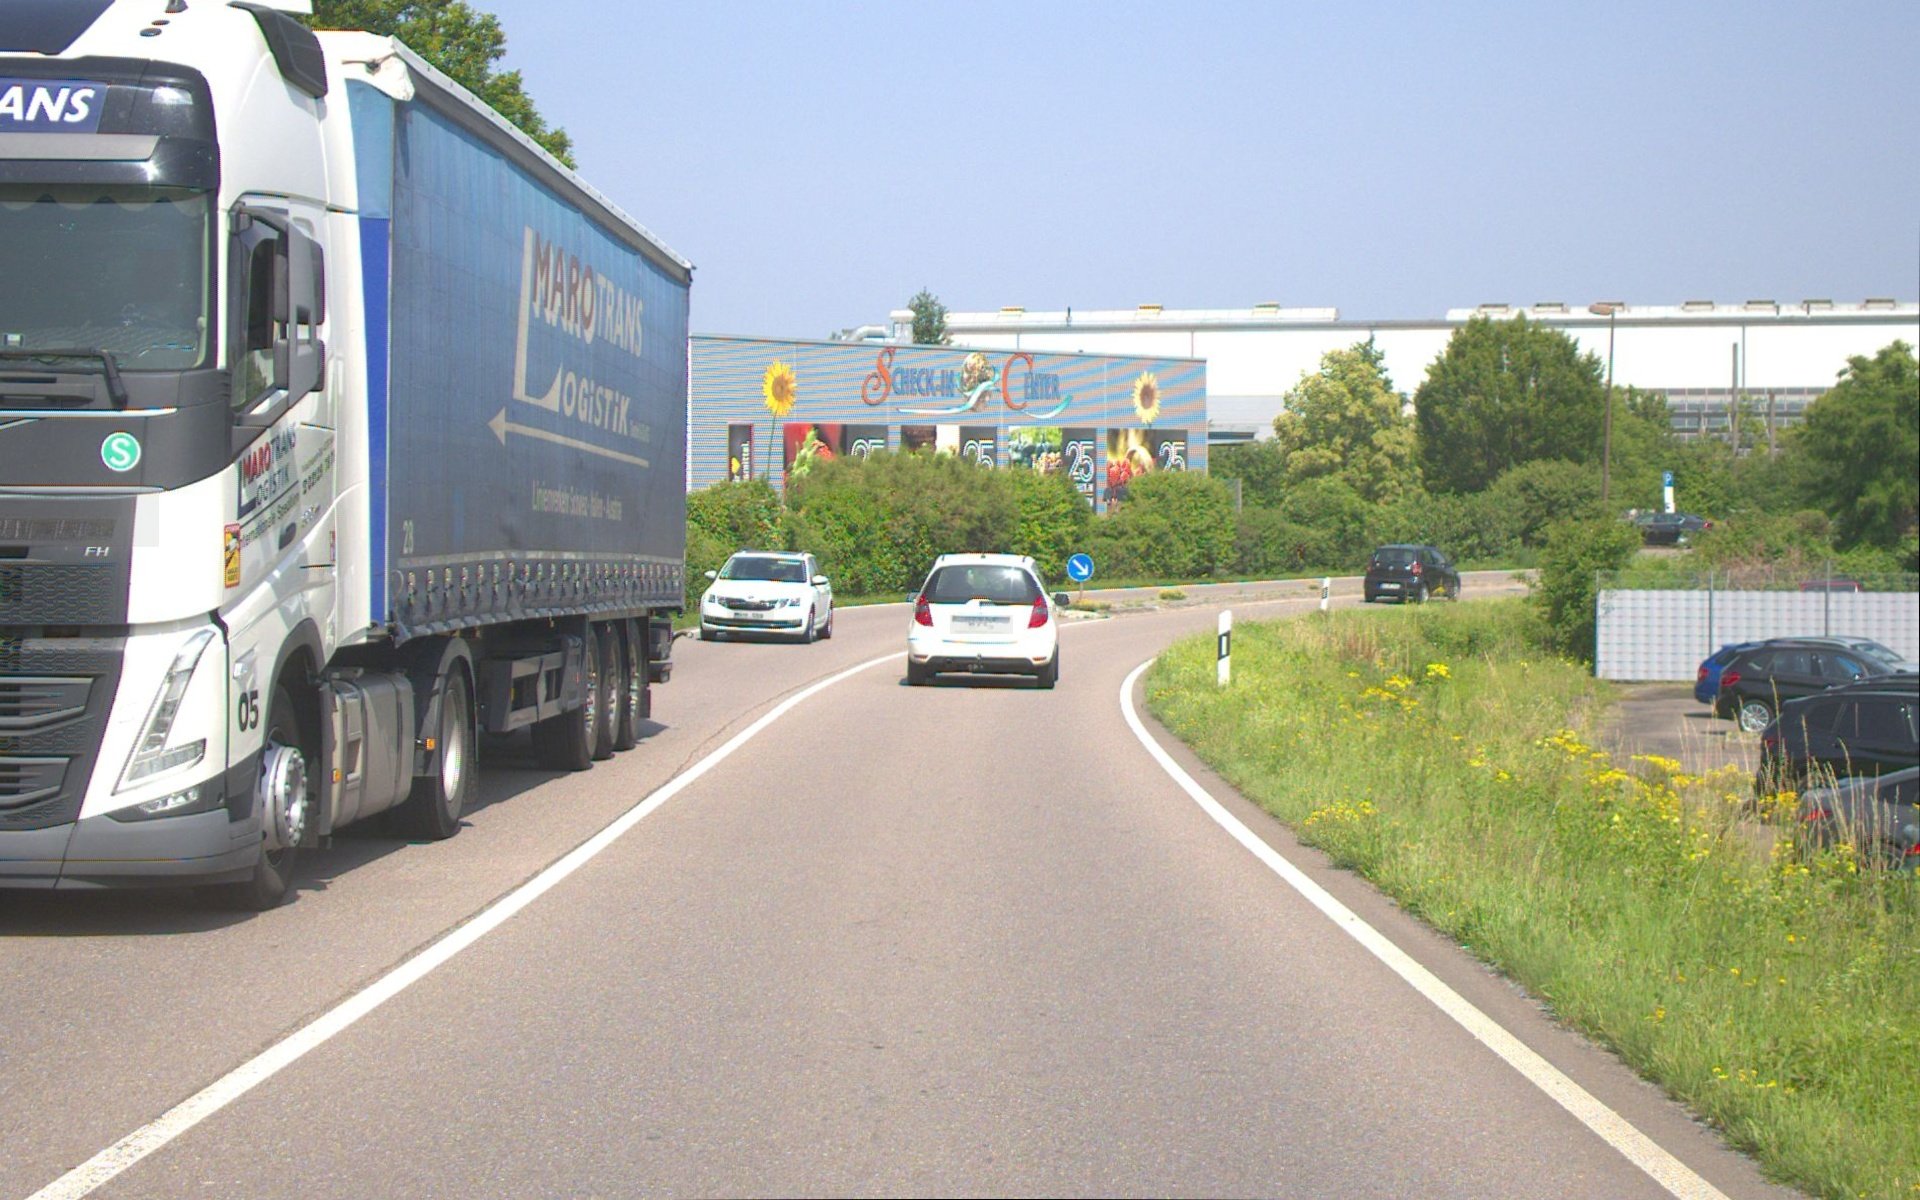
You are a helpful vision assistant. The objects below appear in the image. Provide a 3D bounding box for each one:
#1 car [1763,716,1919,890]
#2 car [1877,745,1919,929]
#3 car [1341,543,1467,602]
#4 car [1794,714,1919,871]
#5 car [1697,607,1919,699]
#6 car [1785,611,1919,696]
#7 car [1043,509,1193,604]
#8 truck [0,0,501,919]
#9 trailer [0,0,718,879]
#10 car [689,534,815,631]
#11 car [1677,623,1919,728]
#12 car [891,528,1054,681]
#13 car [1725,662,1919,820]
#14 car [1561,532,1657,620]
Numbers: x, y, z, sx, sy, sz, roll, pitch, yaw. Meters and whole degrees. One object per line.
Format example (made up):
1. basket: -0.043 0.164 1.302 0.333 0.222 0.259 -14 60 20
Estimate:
1. car: 10.048 1.998 33.024 4.165 1.518 1.853 2 1 29
2. car: 10.260 2.133 29.685 4.165 1.518 1.853 2 1 29
3. car: 11.704 -0.706 90.406 1.831 1.465 4.403 2 1 28
4. car: 11.308 2.087 35.972 4.637 1.518 1.853 2 1 32
5. car: 16.522 0.991 65.150 4.637 1.493 1.853 2 3 32
6. car: 18.626 1.064 67.503 4.370 1.497 1.838 3 3 43
7. car: 3.537 -0.962 76.163 1.996 2.007 3.995 2 1 23
8. truck: -3.915 -0.955 16.101 2.513 4.243 6.113 0 1 2
9. trailer: -3.692 -1.018 22.586 2.670 4.226 14.566 2 1 2
10. car: -3.357 -0.305 56.075 1.828 1.465 4.410 1 1 -1
11. car: 14.865 1.278 59.064 4.636 1.599 1.853 2 2 28
12. car: 0.123 0.011 42.001 1.781 1.597 3.894 4 2 -1
13. car: 11.892 1.752 41.934 4.637 1.695 1.853 2 3 34
14. car: 15.618 -0.580 82.595 1.995 2.007 3.998 2 1 14
